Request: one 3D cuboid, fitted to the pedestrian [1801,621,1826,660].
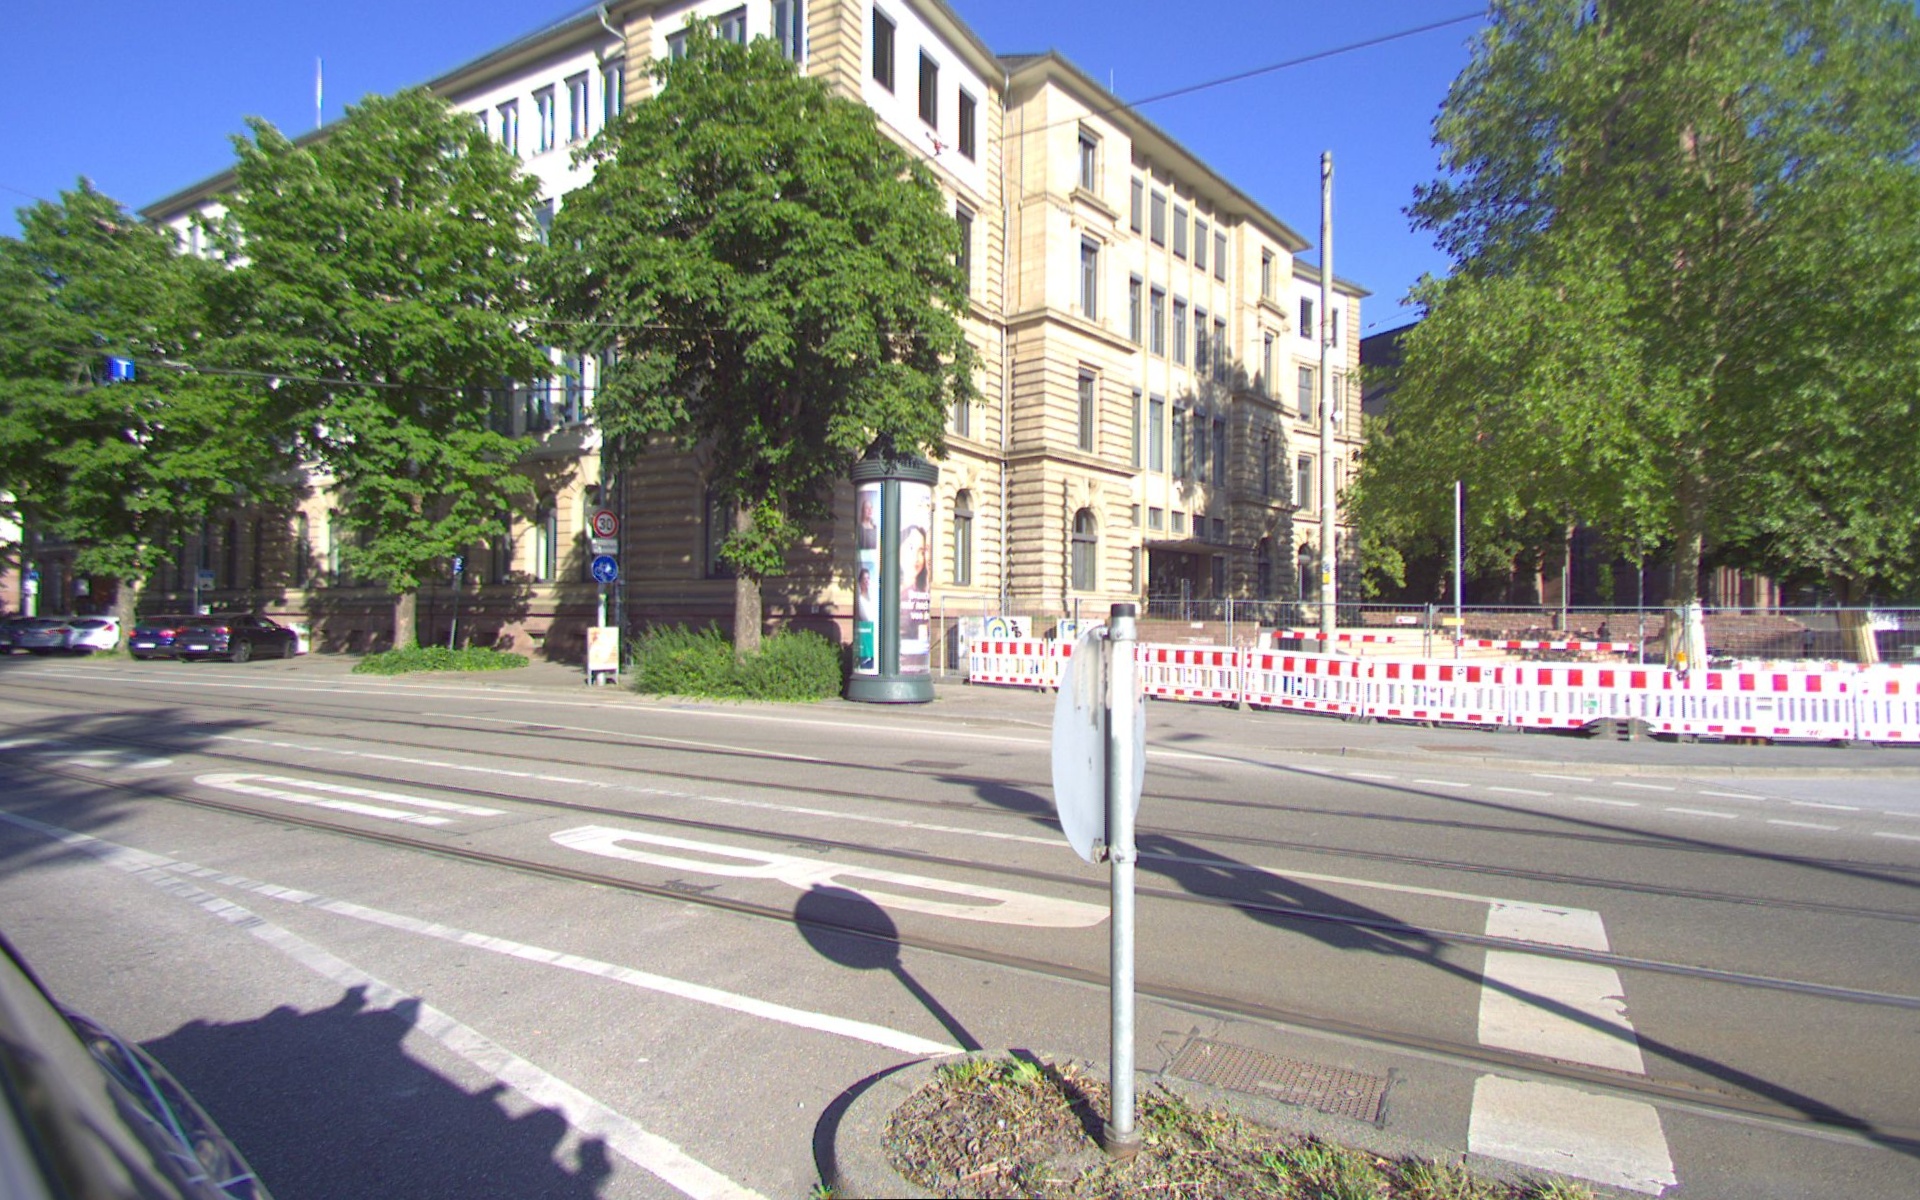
[{"bbox_3d":[36.908,1.723,43.757,0.666,1.660,0.762,1,-2,-45],"label":"pedestrian"}]

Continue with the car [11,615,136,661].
[{"bbox_3d":[-33.227,1.393,38.065,1.626,1.572,3.652,-1,0,-3],"label":"car"}]

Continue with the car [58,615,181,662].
[{"bbox_3d":[-30.914,1.375,37.354,1.626,1.572,3.652,-1,0,-3],"label":"car"}]

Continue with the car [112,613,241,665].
[{"bbox_3d":[-26.243,1.272,34.037,1.626,1.572,3.652,-1,0,-3],"label":"car"}]

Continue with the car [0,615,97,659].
[{"bbox_3d":[-36.243,1.415,39.773,1.626,1.572,3.652,-1,0,-3],"label":"car"}]

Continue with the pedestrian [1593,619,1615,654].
[{"bbox_3d":[30.420,1.727,47.829,0.627,1.660,0.677,1,-2,-37],"label":"pedestrian"}]

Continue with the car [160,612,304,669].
[{"bbox_3d":[-23.614,1.262,33.036,1.819,1.643,4.184,-1,0,-3],"label":"car"}]
